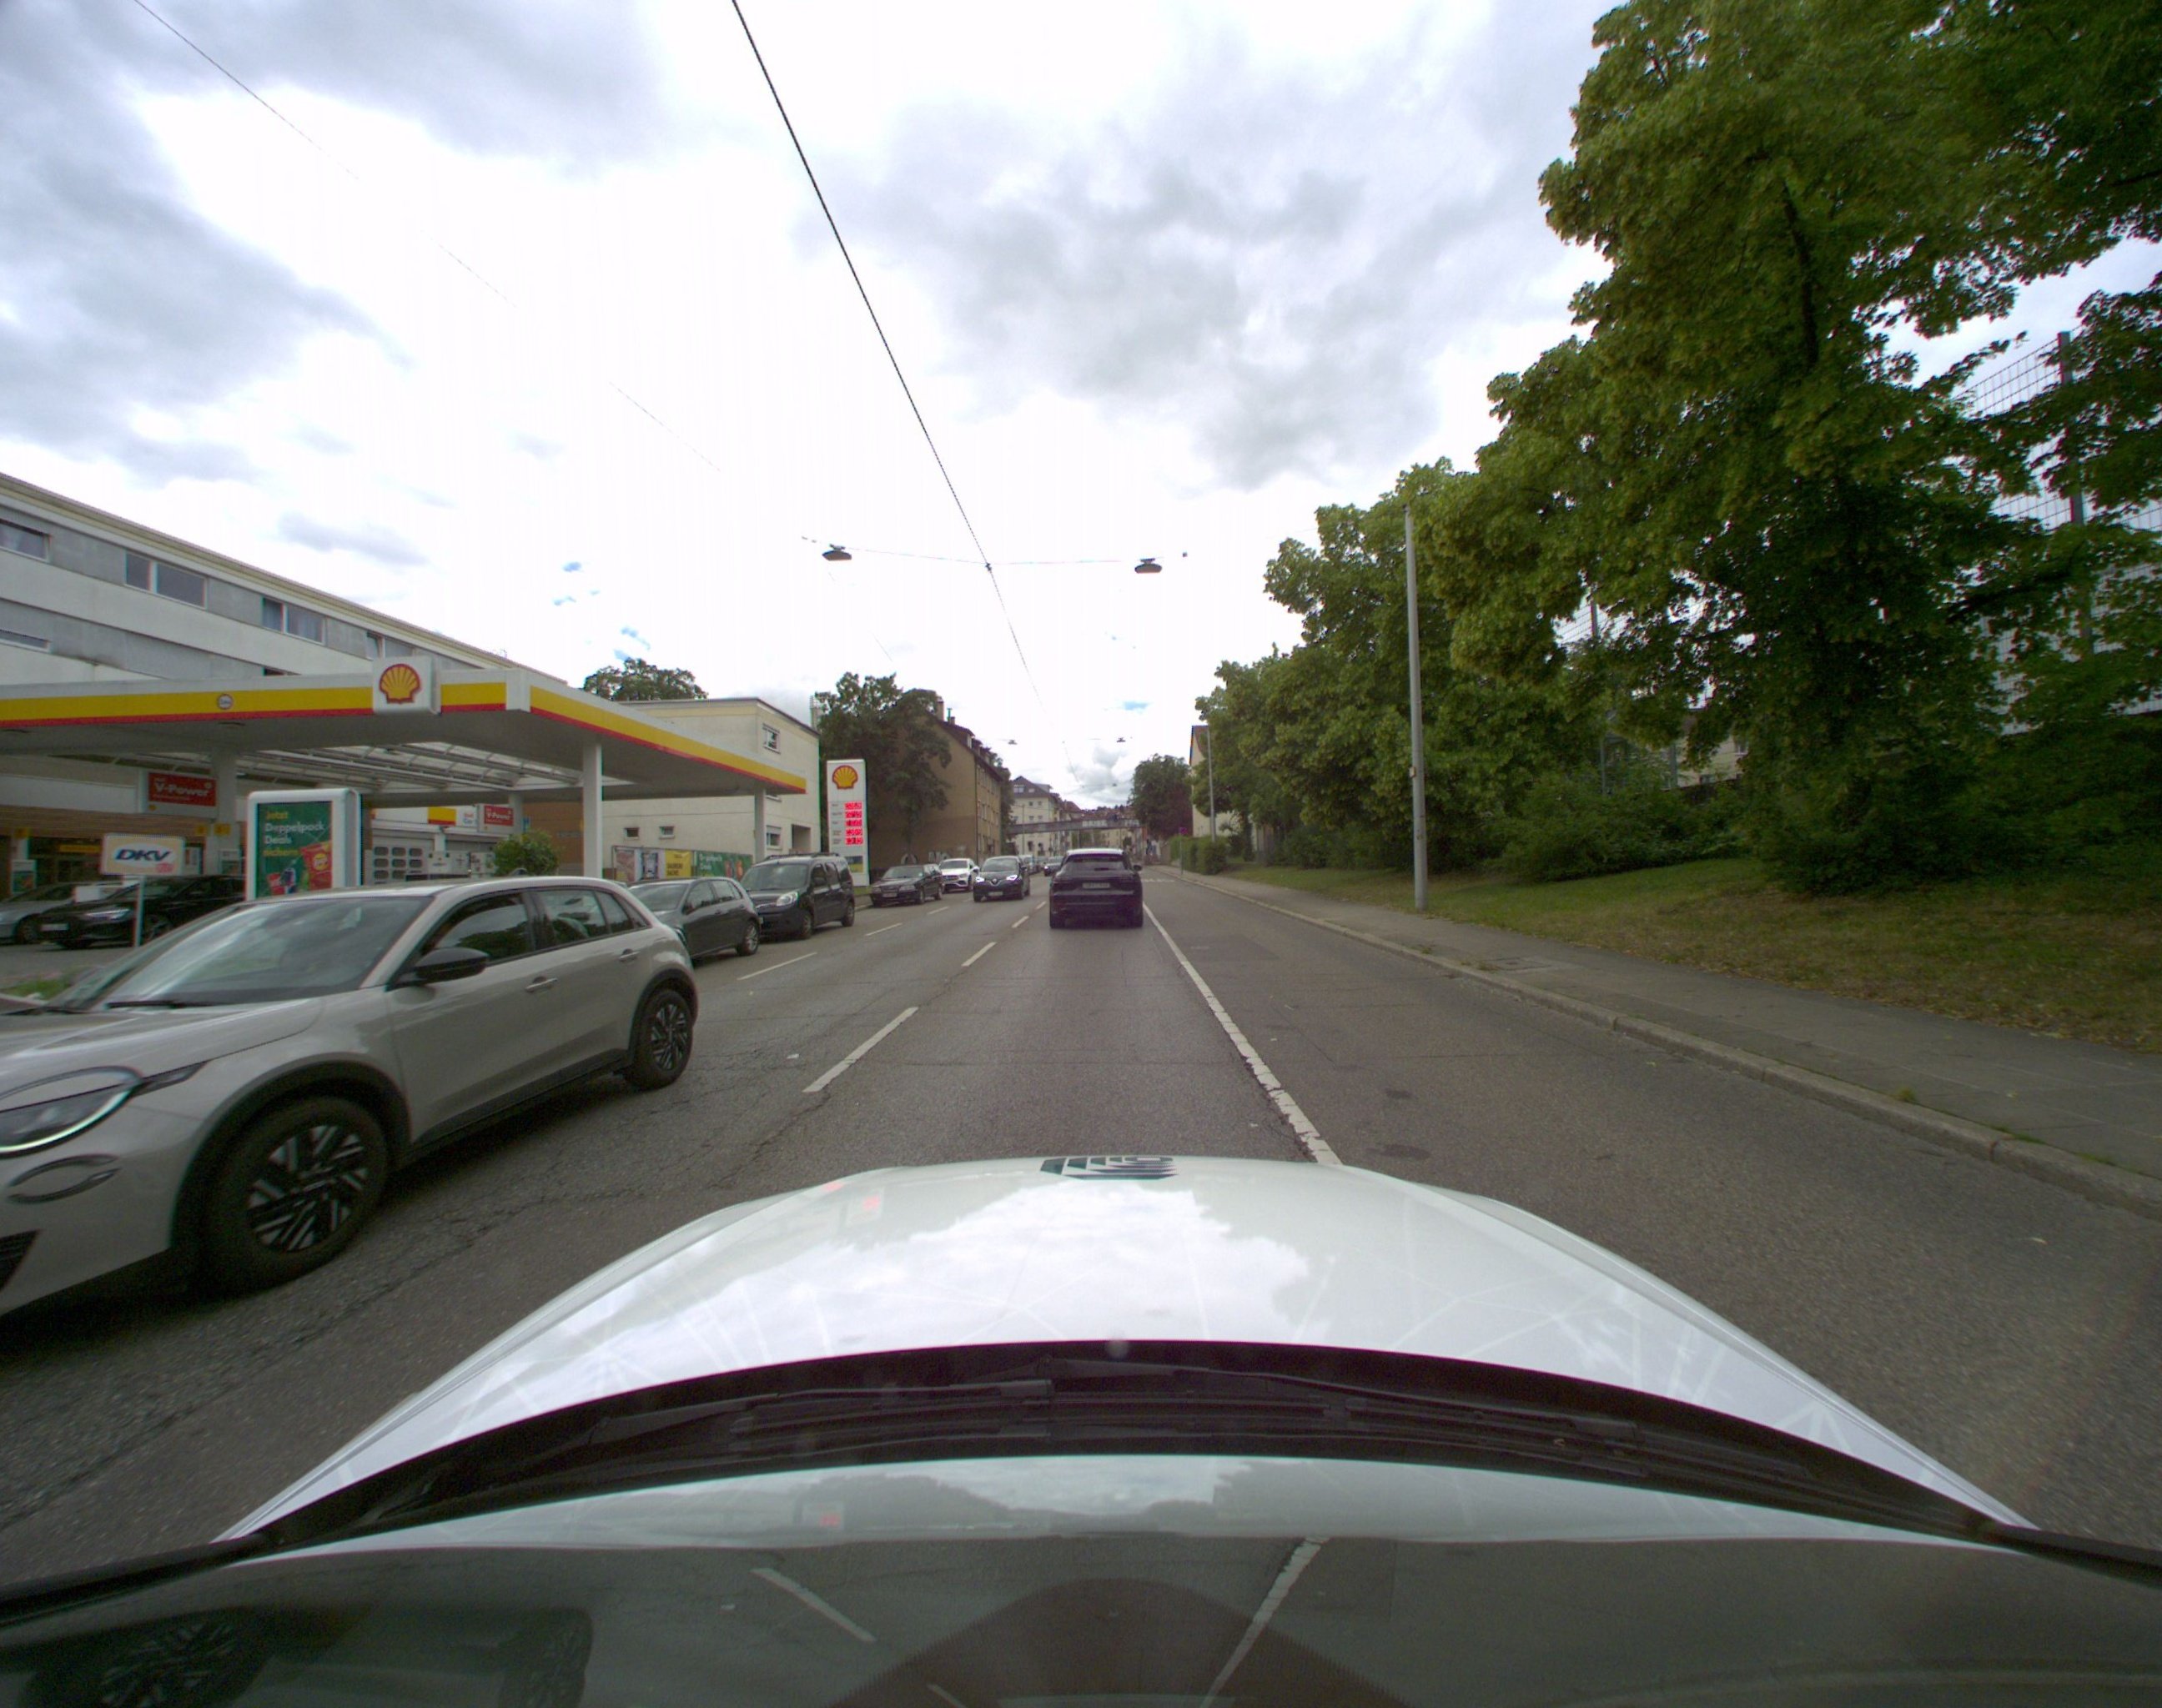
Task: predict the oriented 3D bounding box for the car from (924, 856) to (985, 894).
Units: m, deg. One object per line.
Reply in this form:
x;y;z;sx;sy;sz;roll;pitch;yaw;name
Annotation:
-5.979;0.955;39.031;1.908;1.577;4.702;-3;0;2;car

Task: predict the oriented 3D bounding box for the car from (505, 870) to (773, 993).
-6.699;1.075;12.972;1.784;1.450;4.220;-3;0;2;car

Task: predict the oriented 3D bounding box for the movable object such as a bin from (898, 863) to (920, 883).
-12.472;1.366;59.001;1.388;1.428;0.913;-1;0;-1;movable object such as a bin

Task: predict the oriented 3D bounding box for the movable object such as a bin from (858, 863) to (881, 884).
-15.333;1.420;58.944;1.388;1.428;0.913;-1;0;-1;movable object such as a bin

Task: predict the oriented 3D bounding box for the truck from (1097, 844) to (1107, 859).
5.167;-0.559;195.933;2.258;3.424;9.881;-2;0;2;truck

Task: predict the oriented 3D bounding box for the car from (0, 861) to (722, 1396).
-3.819;0.868;4.410;1.791;1.525;4.002;-3;0;2;car

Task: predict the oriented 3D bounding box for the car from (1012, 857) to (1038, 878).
-4.489;1.049;66.269;1.746;1.530;4.098;-3;0;0;car

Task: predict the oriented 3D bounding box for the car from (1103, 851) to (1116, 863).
3.866;0.389;110.318;1.734;1.400;4.002;-1;1;2;car

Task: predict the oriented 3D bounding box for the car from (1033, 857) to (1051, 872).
-4.390;1.170;91.334;1.740;1.568;3.907;-3;0;0;car

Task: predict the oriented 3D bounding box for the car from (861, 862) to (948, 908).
-6.371;1.073;30.000;1.790;1.431;4.748;-3;0;4;car

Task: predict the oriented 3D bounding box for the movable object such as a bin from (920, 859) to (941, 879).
-10.814;1.075;58.723;1.278;1.428;1.278;-1;0;-3;movable object such as a bin

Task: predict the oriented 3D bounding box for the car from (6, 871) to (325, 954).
-19.327;1.157;17.577;1.791;1.420;4.418;-1;0;2;car

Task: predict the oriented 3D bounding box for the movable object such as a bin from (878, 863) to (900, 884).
-13.907;1.391;58.979;1.388;1.428;0.913;-1;0;-1;movable object such as a bin

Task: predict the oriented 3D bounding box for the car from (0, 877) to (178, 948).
-24.099;1.329;19.053;1.791;1.420;3.638;-1;0;2;car

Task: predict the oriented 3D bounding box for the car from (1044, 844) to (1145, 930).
0.348;0.641;18.313;1.986;1.662;4.002;-1;1;2;car

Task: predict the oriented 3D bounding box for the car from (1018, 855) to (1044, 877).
-4.360;1.051;71.620;1.770;1.754;4.559;-3;0;2;car

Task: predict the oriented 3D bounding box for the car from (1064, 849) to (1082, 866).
-0.893;0.389;93.746;1.924;1.901;4.591;-2;0;2;car

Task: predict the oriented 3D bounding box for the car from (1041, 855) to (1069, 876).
-2.002;0.852;63.855;1.771;1.466;4.501;-3;0;2;car

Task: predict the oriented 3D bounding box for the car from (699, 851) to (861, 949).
-6.622;0.913;18.553;1.845;1.835;4.701;-3;0;0;car

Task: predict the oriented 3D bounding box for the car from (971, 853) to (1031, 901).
-2.851;0.774;29.595;1.677;1.555;3.719;-3;0;1;car
